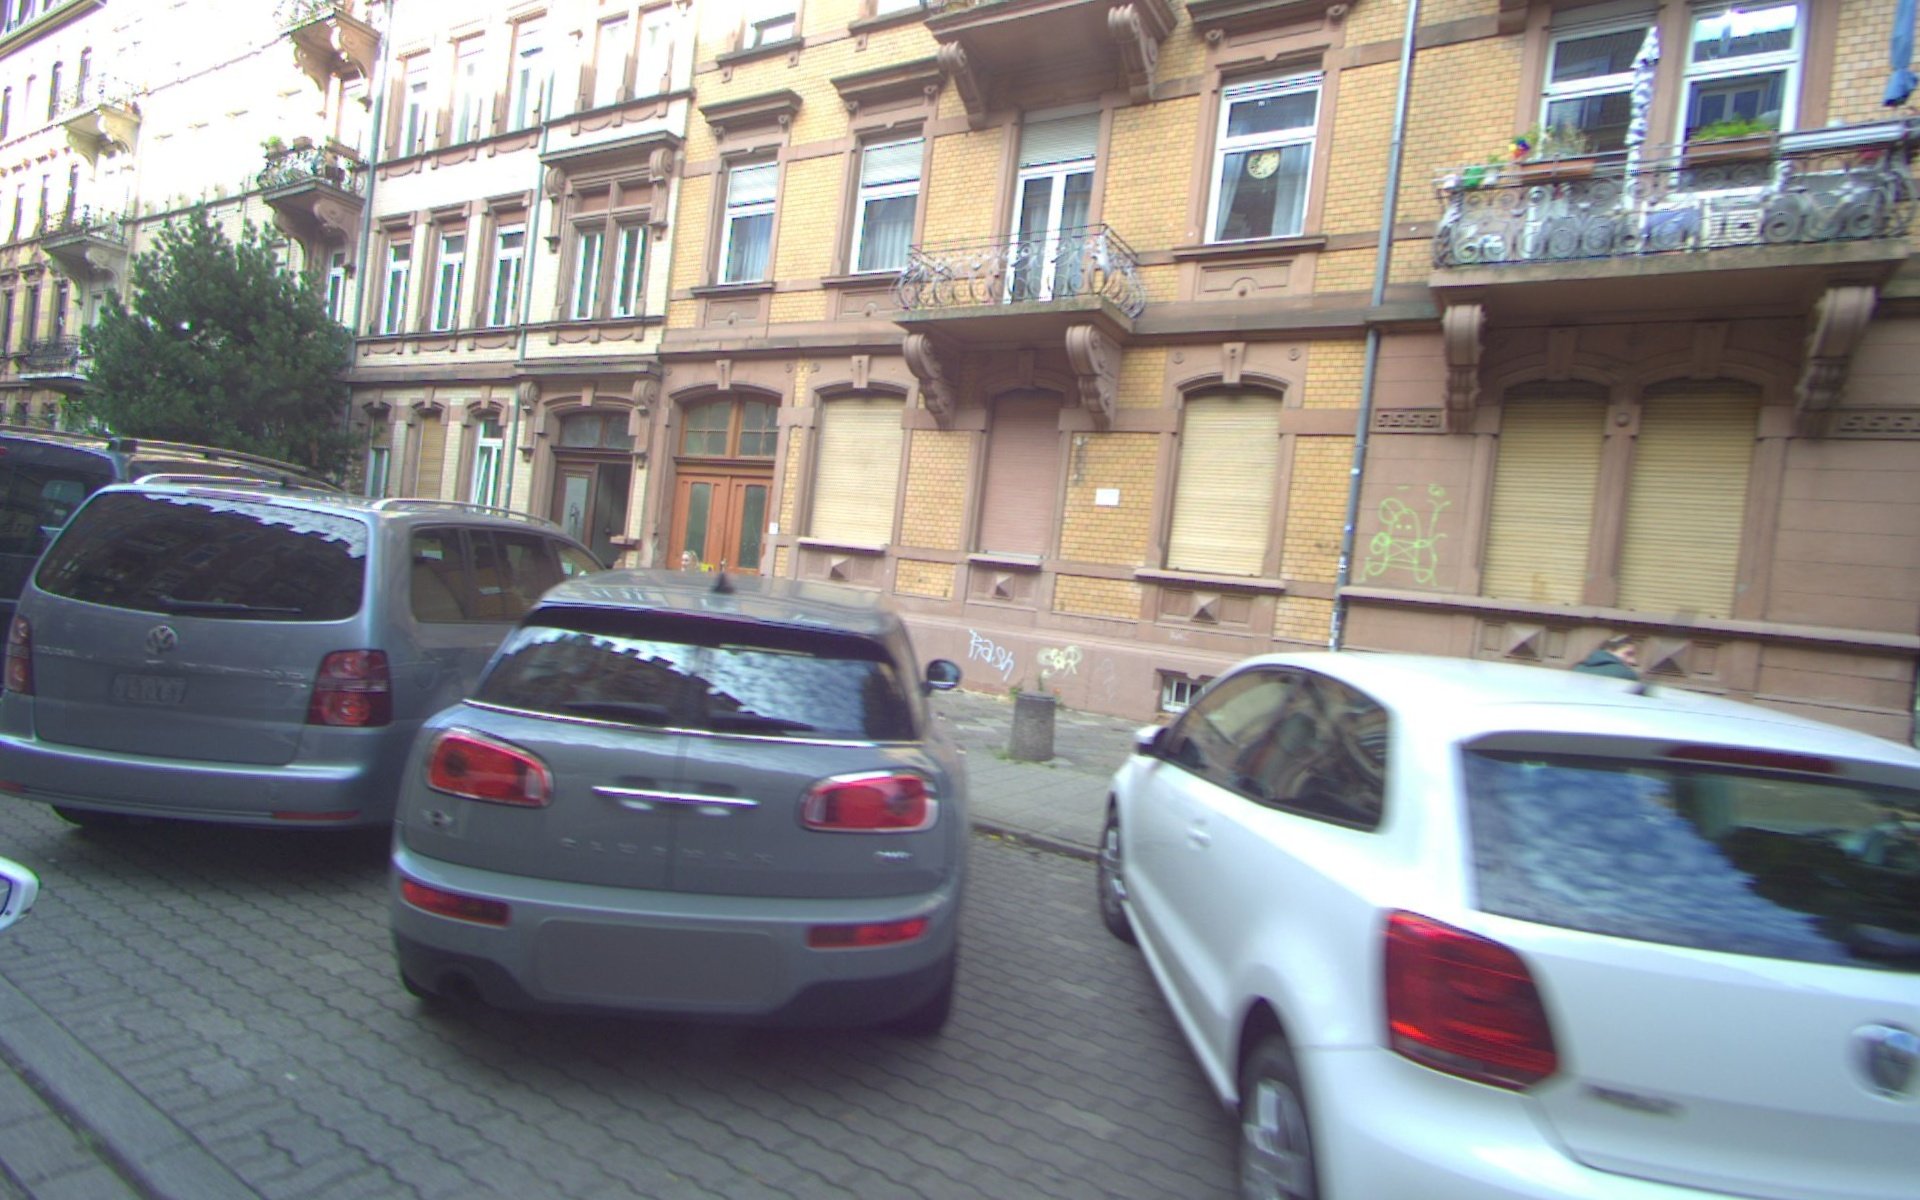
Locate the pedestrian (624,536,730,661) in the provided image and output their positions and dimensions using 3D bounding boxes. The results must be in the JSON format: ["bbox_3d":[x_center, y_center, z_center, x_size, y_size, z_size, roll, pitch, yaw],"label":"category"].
[{"bbox_3d":[-3.743,-0.012,13.348,0.798,1.516,0.929,7,2,25],"label":"pedestrian"}]

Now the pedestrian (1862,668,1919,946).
[{"bbox_3d":[5.882,1.222,5.549,0.986,1.521,0.719,7,1,-7],"label":"pedestrian"}]

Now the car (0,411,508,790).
[{"bbox_3d":[-5.171,-0.100,7.221,1.722,1.846,4.400,6,2,0],"label":"car"}]

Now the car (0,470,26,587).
[{"bbox_3d":[-15.252,-1.220,13.107,1.964,1.753,4.456,8,-1,-3],"label":"car"}]

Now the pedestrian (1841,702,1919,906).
[{"bbox_3d":[6.653,1.399,6.848,0.708,1.295,0.570,6,-1,-7],"label":"pedestrian"}]

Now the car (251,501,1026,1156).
[{"bbox_3d":[-0.991,0.555,4.601,1.836,1.569,3.993,6,2,-5],"label":"car"}]

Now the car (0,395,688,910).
[{"bbox_3d":[-3.104,0.156,5.739,1.805,1.763,3.998,6,1,1],"label":"car"}]

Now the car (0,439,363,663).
[{"bbox_3d":[-8.315,-0.486,9.103,1.779,1.809,4.638,9,4,30],"label":"car"}]

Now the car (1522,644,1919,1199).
[{"bbox_3d":[3.671,1.077,2.614,1.853,1.480,3.994,5,2,-4],"label":"car"}]

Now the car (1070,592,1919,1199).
[{"bbox_3d":[1.524,0.845,3.536,1.704,1.470,3.995,5,2,0],"label":"car"}]

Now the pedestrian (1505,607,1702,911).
[{"bbox_3d":[3.908,0.917,6.194,0.819,1.655,0.732,6,2,29],"label":"pedestrian"}]
